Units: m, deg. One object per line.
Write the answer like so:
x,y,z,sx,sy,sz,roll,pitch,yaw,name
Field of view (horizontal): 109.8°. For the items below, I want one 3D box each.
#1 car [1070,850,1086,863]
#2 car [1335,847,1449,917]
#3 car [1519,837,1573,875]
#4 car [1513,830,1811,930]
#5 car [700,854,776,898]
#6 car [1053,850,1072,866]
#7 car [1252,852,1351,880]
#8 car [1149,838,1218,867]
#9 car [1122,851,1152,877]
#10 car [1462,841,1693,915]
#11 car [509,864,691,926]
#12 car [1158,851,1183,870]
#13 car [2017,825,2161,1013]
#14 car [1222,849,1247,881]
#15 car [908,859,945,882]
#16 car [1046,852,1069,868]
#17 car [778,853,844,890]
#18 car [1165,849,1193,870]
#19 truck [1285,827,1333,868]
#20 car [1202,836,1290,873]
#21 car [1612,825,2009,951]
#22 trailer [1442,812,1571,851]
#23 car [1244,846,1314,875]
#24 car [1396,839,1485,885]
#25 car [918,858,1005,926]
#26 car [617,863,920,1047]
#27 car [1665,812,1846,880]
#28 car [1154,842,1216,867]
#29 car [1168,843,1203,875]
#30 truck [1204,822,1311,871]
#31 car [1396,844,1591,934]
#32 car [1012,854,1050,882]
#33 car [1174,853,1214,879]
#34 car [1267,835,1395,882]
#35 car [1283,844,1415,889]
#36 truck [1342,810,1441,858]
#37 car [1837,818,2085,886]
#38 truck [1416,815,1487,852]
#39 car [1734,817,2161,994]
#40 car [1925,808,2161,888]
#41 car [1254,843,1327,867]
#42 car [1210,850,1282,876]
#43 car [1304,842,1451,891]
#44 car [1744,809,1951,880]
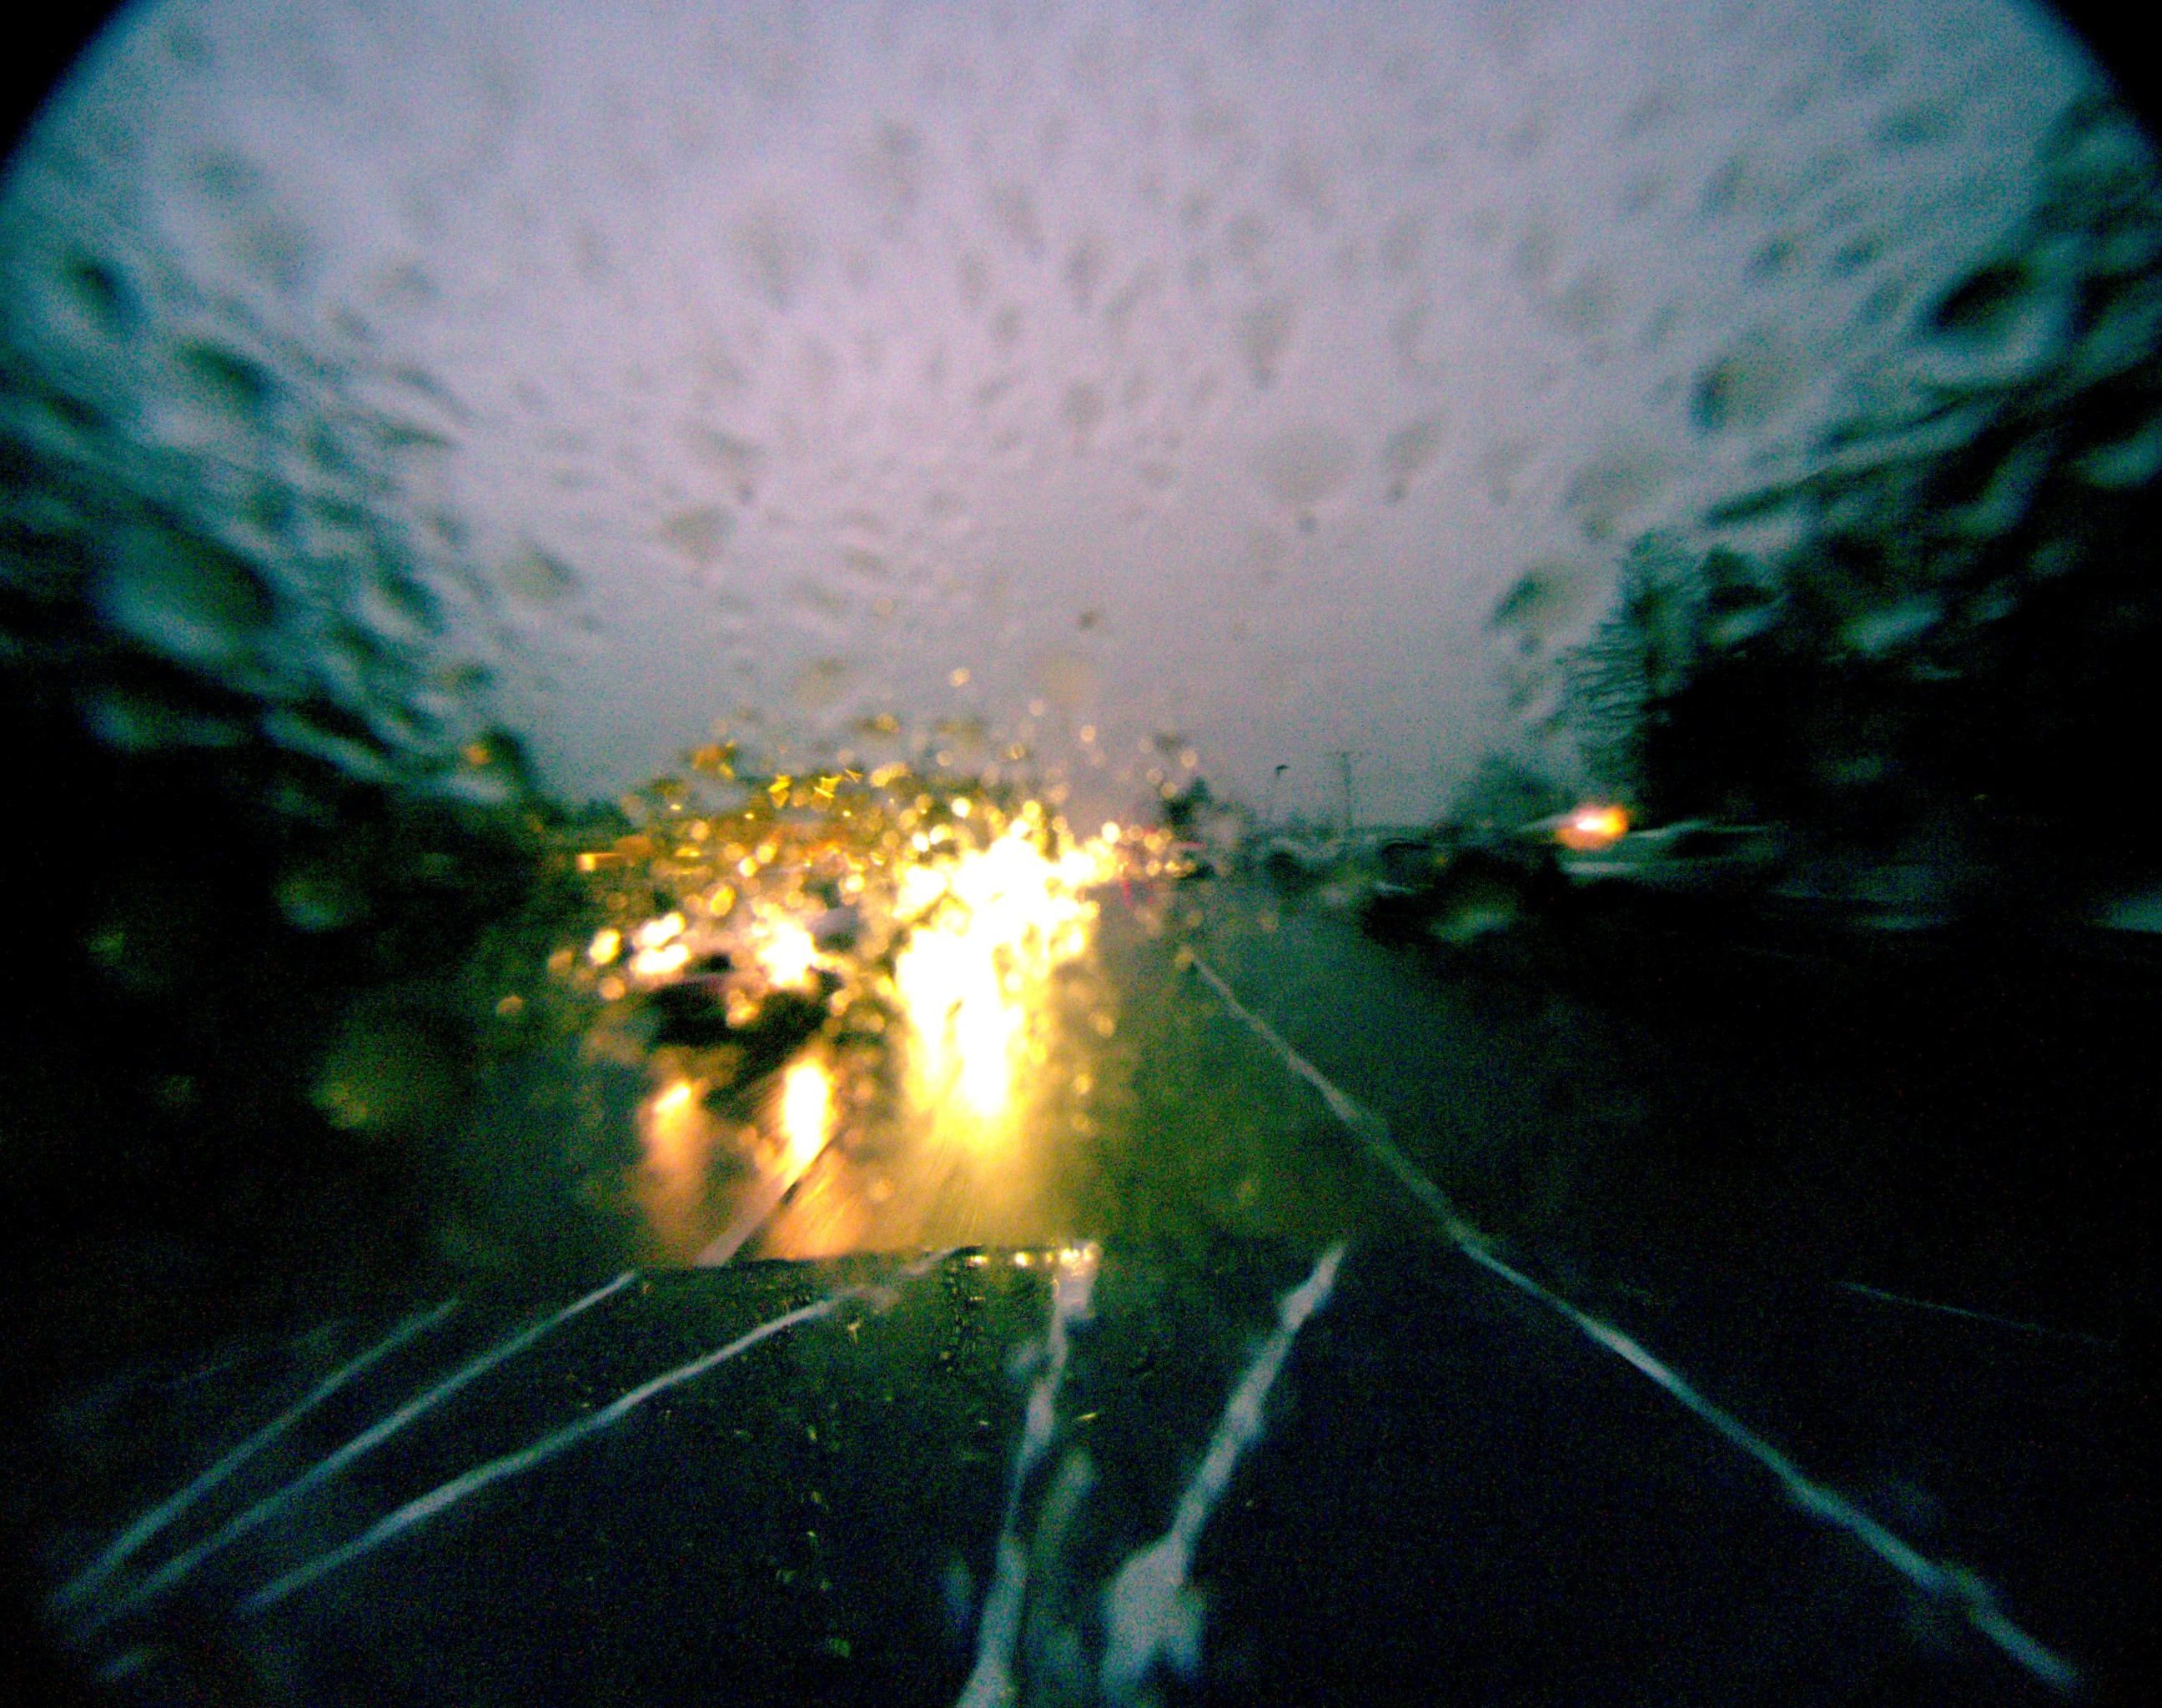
-0.418,0.269,99.486,1.890,1.618,3.999,-3,0,-2,car
7.369,0.620,18.288,1.522,1.534,3.015,-1,0,0,car
18.576,0.038,30.279,1.670,1.376,3.630,-2,1,34,car
10.710,0.455,14.281,4.056,1.640,1.942,-2,1,2,car
-17.427,1.068,38.836,1.998,2.002,3.999,-2,1,0,car
-2.020,0.441,85.351,1.890,1.618,4.000,-3,0,1,car
11.761,0.612,40.720,4.768,1.429,1.782,0,0,-2,car
9.690,-0.144,72.171,6.171,2.617,2.176,0,0,0,car
3.496,0.588,47.910,1.607,1.525,3.999,0,0,0,car
10.872,0.490,16.852,3.868,1.338,1.839,-3,1,0,car
-15.013,1.212,23.888,4.491,1.599,2.014,-2,1,-43,car
7.252,0.551,61.719,1.655,1.411,3.743,-1,-1,1,car
10.199,0.416,5.724,3.868,1.401,1.943,-3,1,0,car
8.189,0.553,40.720,1.174,1.634,2.872,-1,0,9,car
-10.267,1.072,50.658,1.576,1.388,4.168,-1,0,0,car
-2.255,0.545,71.567,2.016,1.484,3.998,-2,0,-4,car
-14.516,0.870,41.095,1.998,1.848,4.298,-1,1,0,car
7.164,0.390,55.817,1.654,1.404,3.841,-1,0,2,car
19.735,-0.512,66.055,2.036,3.434,5.850,0,0,-4,truck
12.417,0.020,57.388,6.047,2.623,2.195,-1,0,-2,car
10.201,0.438,10.869,3.868,1.443,1.839,-3,1,0,car
35.112,-1.880,62.642,10.511,2.658,2.217,-3,1,-14,trailer
13.314,0.419,51.272,4.060,1.722,2.024,-2,0,-3,car
14.255,0.288,30.340,1.673,1.667,3.706,-2,0,-2,car
-3.087,0.927,20.376,1.569,1.520,4.006,-2,0,1,car
-3.352,0.965,9.231,1.712,1.566,4.464,-2,0,1,car
21.419,-0.247,24.262,3.997,1.911,1.958,-3,0,1,car
9.175,0.062,67.391,5.159,2.138,2.058,0,0,0,car
6.869,0.304,50.319,1.839,2.002,4.484,-2,0,2,car
12.372,-0.503,53.582,6.877,3.124,2.334,-2,0,-1,truck
7.425,0.556,14.131,1.686,1.412,3.741,-2,0,2,car
-2.939,0.770,44.662,2.016,1.484,3.998,-3,0,-4,car
6.563,0.667,44.539,1.574,1.314,4.254,0,2,-2,car
10.283,0.177,31.460,4.547,1.667,2.010,-2,0,-4,car
10.161,0.461,29.070,4.345,1.489,1.995,-2,0,3,car
31.217,-2.039,76.489,8.714,4.237,3.004,-4,1,-10,truck
22.261,-0.054,19.359,3.997,1.457,1.958,-3,0,1,car
29.923,-1.623,61.377,4.726,2.681,2.231,-3,1,-14,truck
9.943,0.477,8.272,4.041,1.545,1.823,-3,0,0,car
22.015,-0.158,17.015,3.997,1.567,1.958,-3,0,1,car
13.326,0.075,48.509,4.060,1.369,1.814,-2,0,-3,car
9.923,0.541,45.796,3.919,1.469,1.810,1,1,0,car
10.235,0.428,26.446,4.346,1.489,1.825,-2,0,1,car
22.226,-0.264,22.158,3.997,1.797,1.958,-3,0,1,car
